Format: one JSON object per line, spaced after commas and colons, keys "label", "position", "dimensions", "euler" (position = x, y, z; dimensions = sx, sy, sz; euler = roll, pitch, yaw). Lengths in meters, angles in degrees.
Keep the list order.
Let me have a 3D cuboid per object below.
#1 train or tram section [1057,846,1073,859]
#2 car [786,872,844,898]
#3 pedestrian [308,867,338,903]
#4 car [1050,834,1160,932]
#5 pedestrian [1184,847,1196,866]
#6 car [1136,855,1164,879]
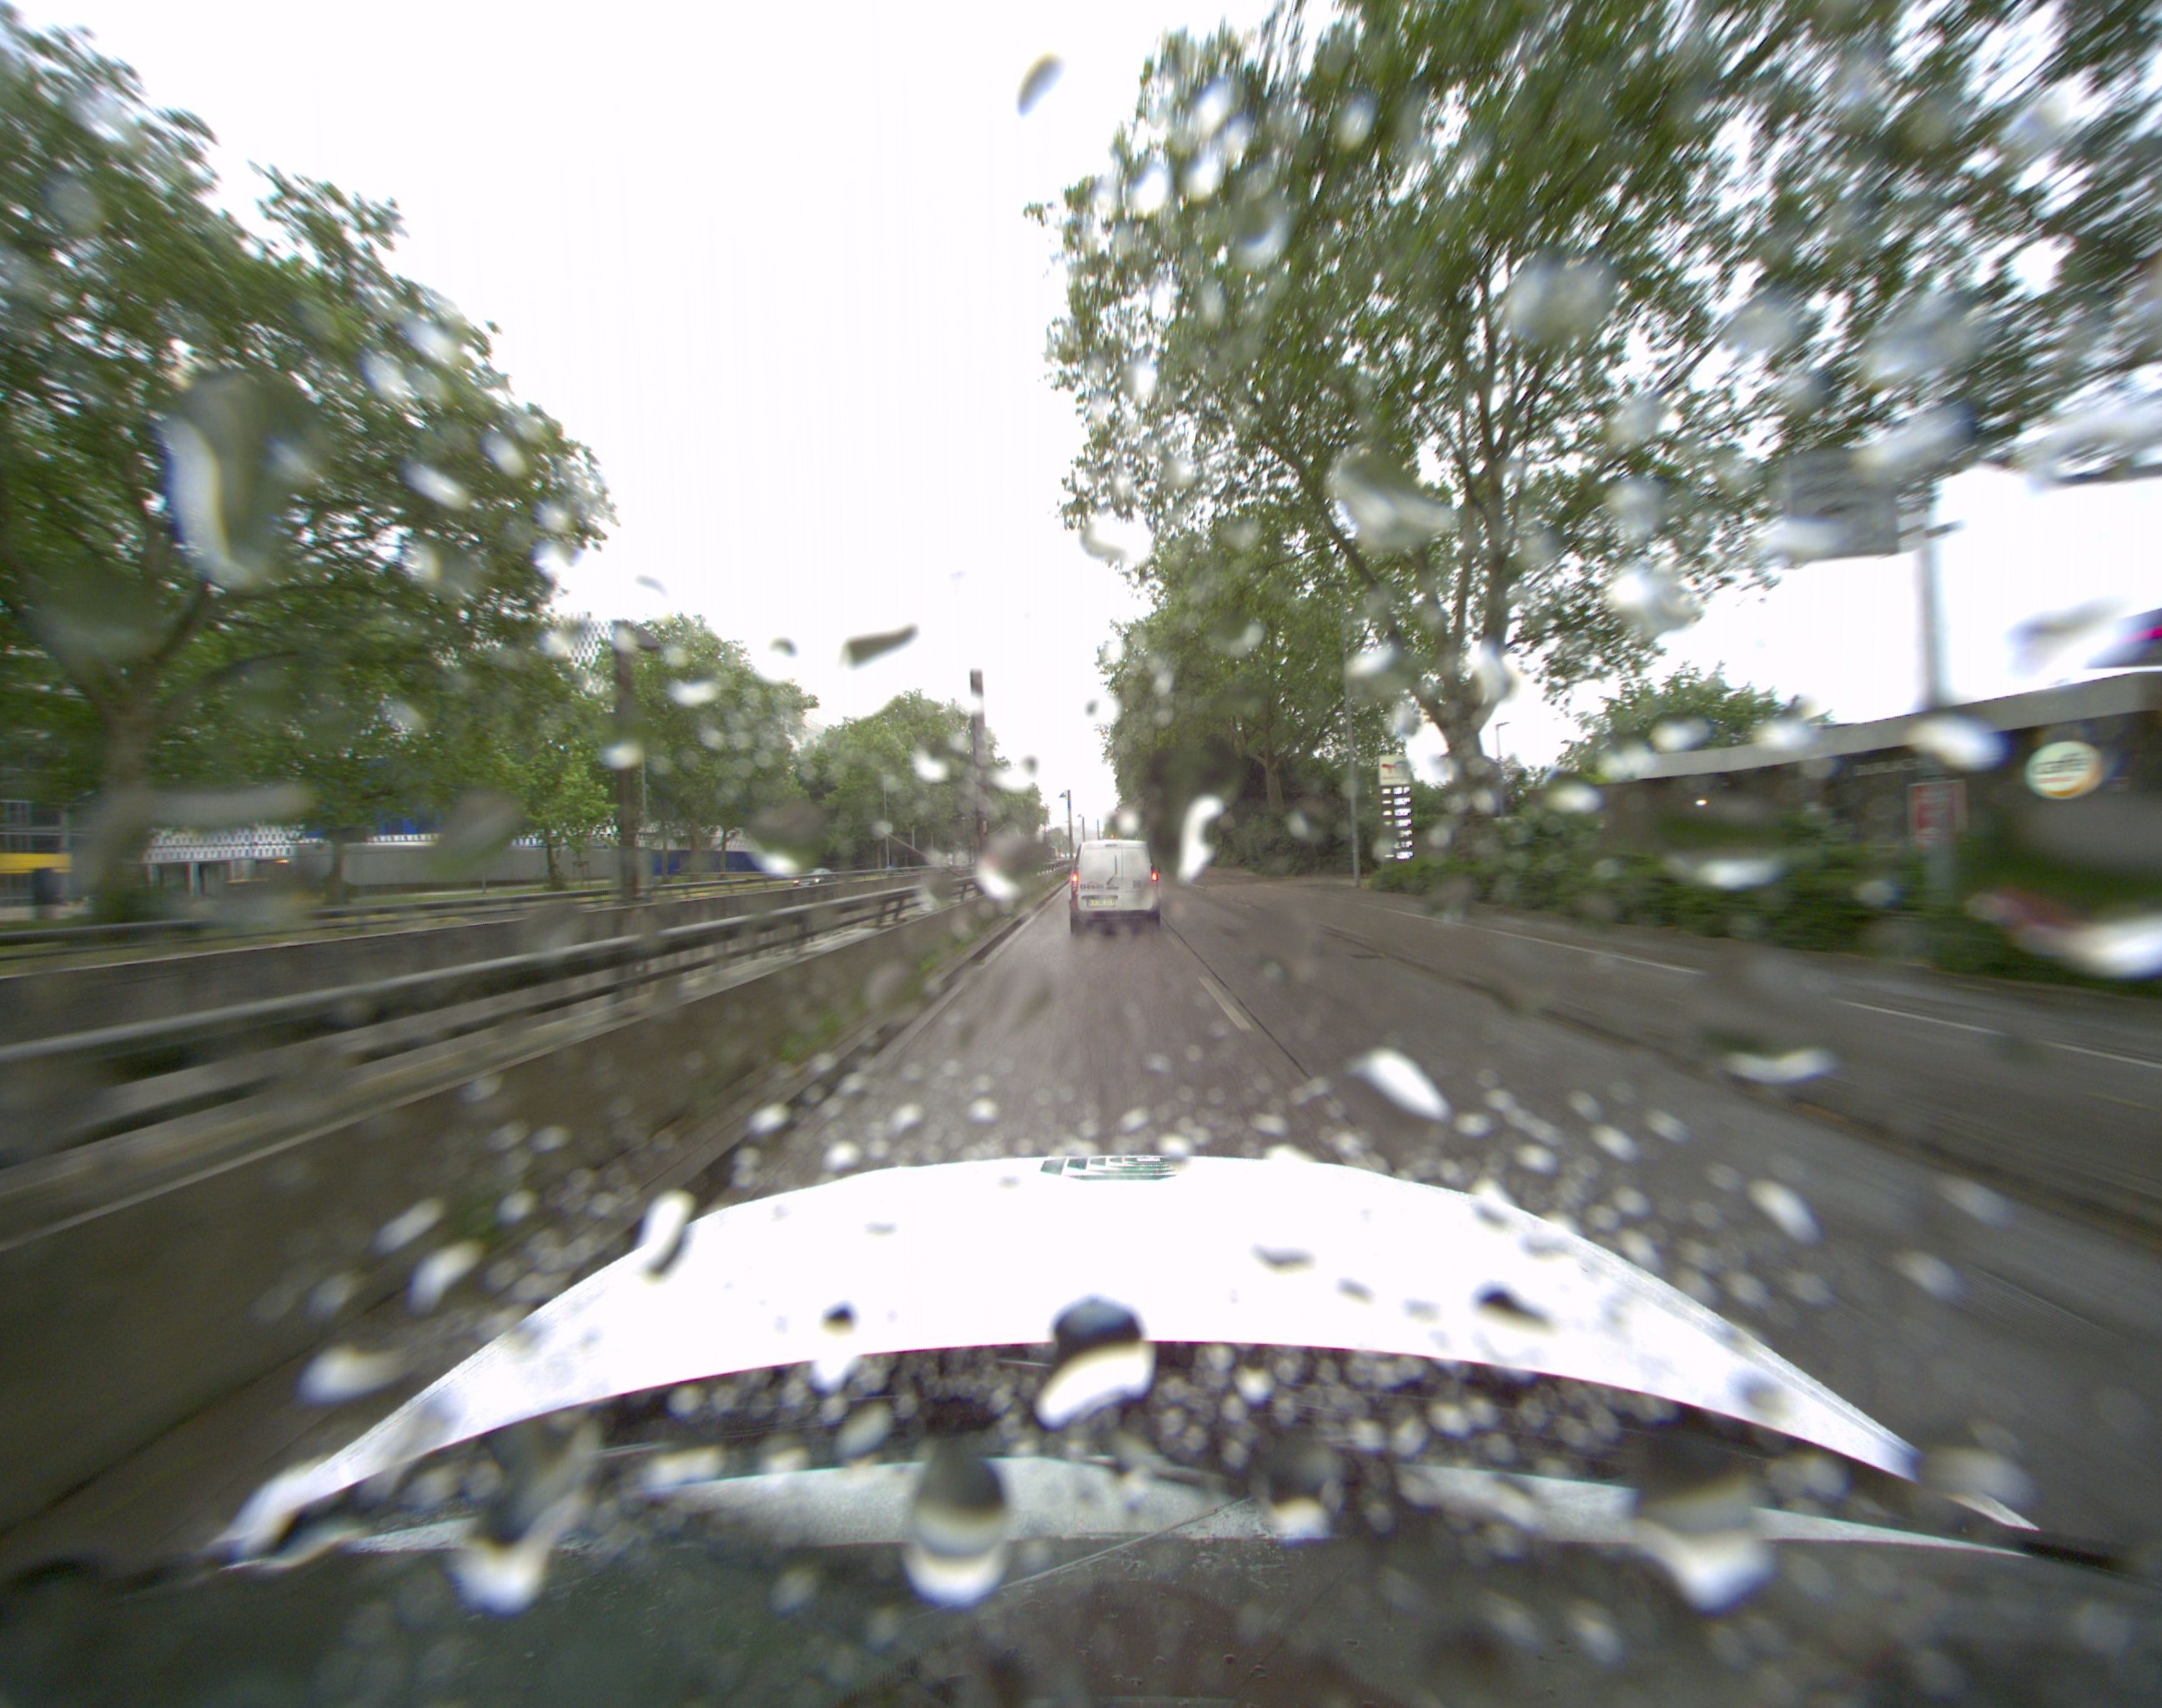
{"label": "train or tram section", "position": [-4.971, -0.469, 258.028], "dimensions": [3.756, 4.036, 27.104], "euler": [0, 0, 2]}
{"label": "car", "position": [-16.571, 1.920, 50.974], "dimensions": [1.983, 1.403, 3.801], "euler": [-2, 0, 7]}
{"label": "pedestrian", "position": [-44.064, 1.790, 47.357], "dimensions": [0.997, 2.014, 0.790], "euler": [0, 0, 3]}
{"label": "car", "position": [0.491, 0.536, 17.053], "dimensions": [2.017, 1.775, 4.275], "euler": [0, 0, 1]}
{"label": "pedestrian", "position": [9.628, 0.226, 72.173], "dimensions": [0.963, 1.702, 1.141], "euler": [0, 0, 2]}
{"label": "car", "position": [5.151, 0.931, 60.647], "dimensions": [1.984, 1.750, 4.005], "euler": [0, 0, 4]}
